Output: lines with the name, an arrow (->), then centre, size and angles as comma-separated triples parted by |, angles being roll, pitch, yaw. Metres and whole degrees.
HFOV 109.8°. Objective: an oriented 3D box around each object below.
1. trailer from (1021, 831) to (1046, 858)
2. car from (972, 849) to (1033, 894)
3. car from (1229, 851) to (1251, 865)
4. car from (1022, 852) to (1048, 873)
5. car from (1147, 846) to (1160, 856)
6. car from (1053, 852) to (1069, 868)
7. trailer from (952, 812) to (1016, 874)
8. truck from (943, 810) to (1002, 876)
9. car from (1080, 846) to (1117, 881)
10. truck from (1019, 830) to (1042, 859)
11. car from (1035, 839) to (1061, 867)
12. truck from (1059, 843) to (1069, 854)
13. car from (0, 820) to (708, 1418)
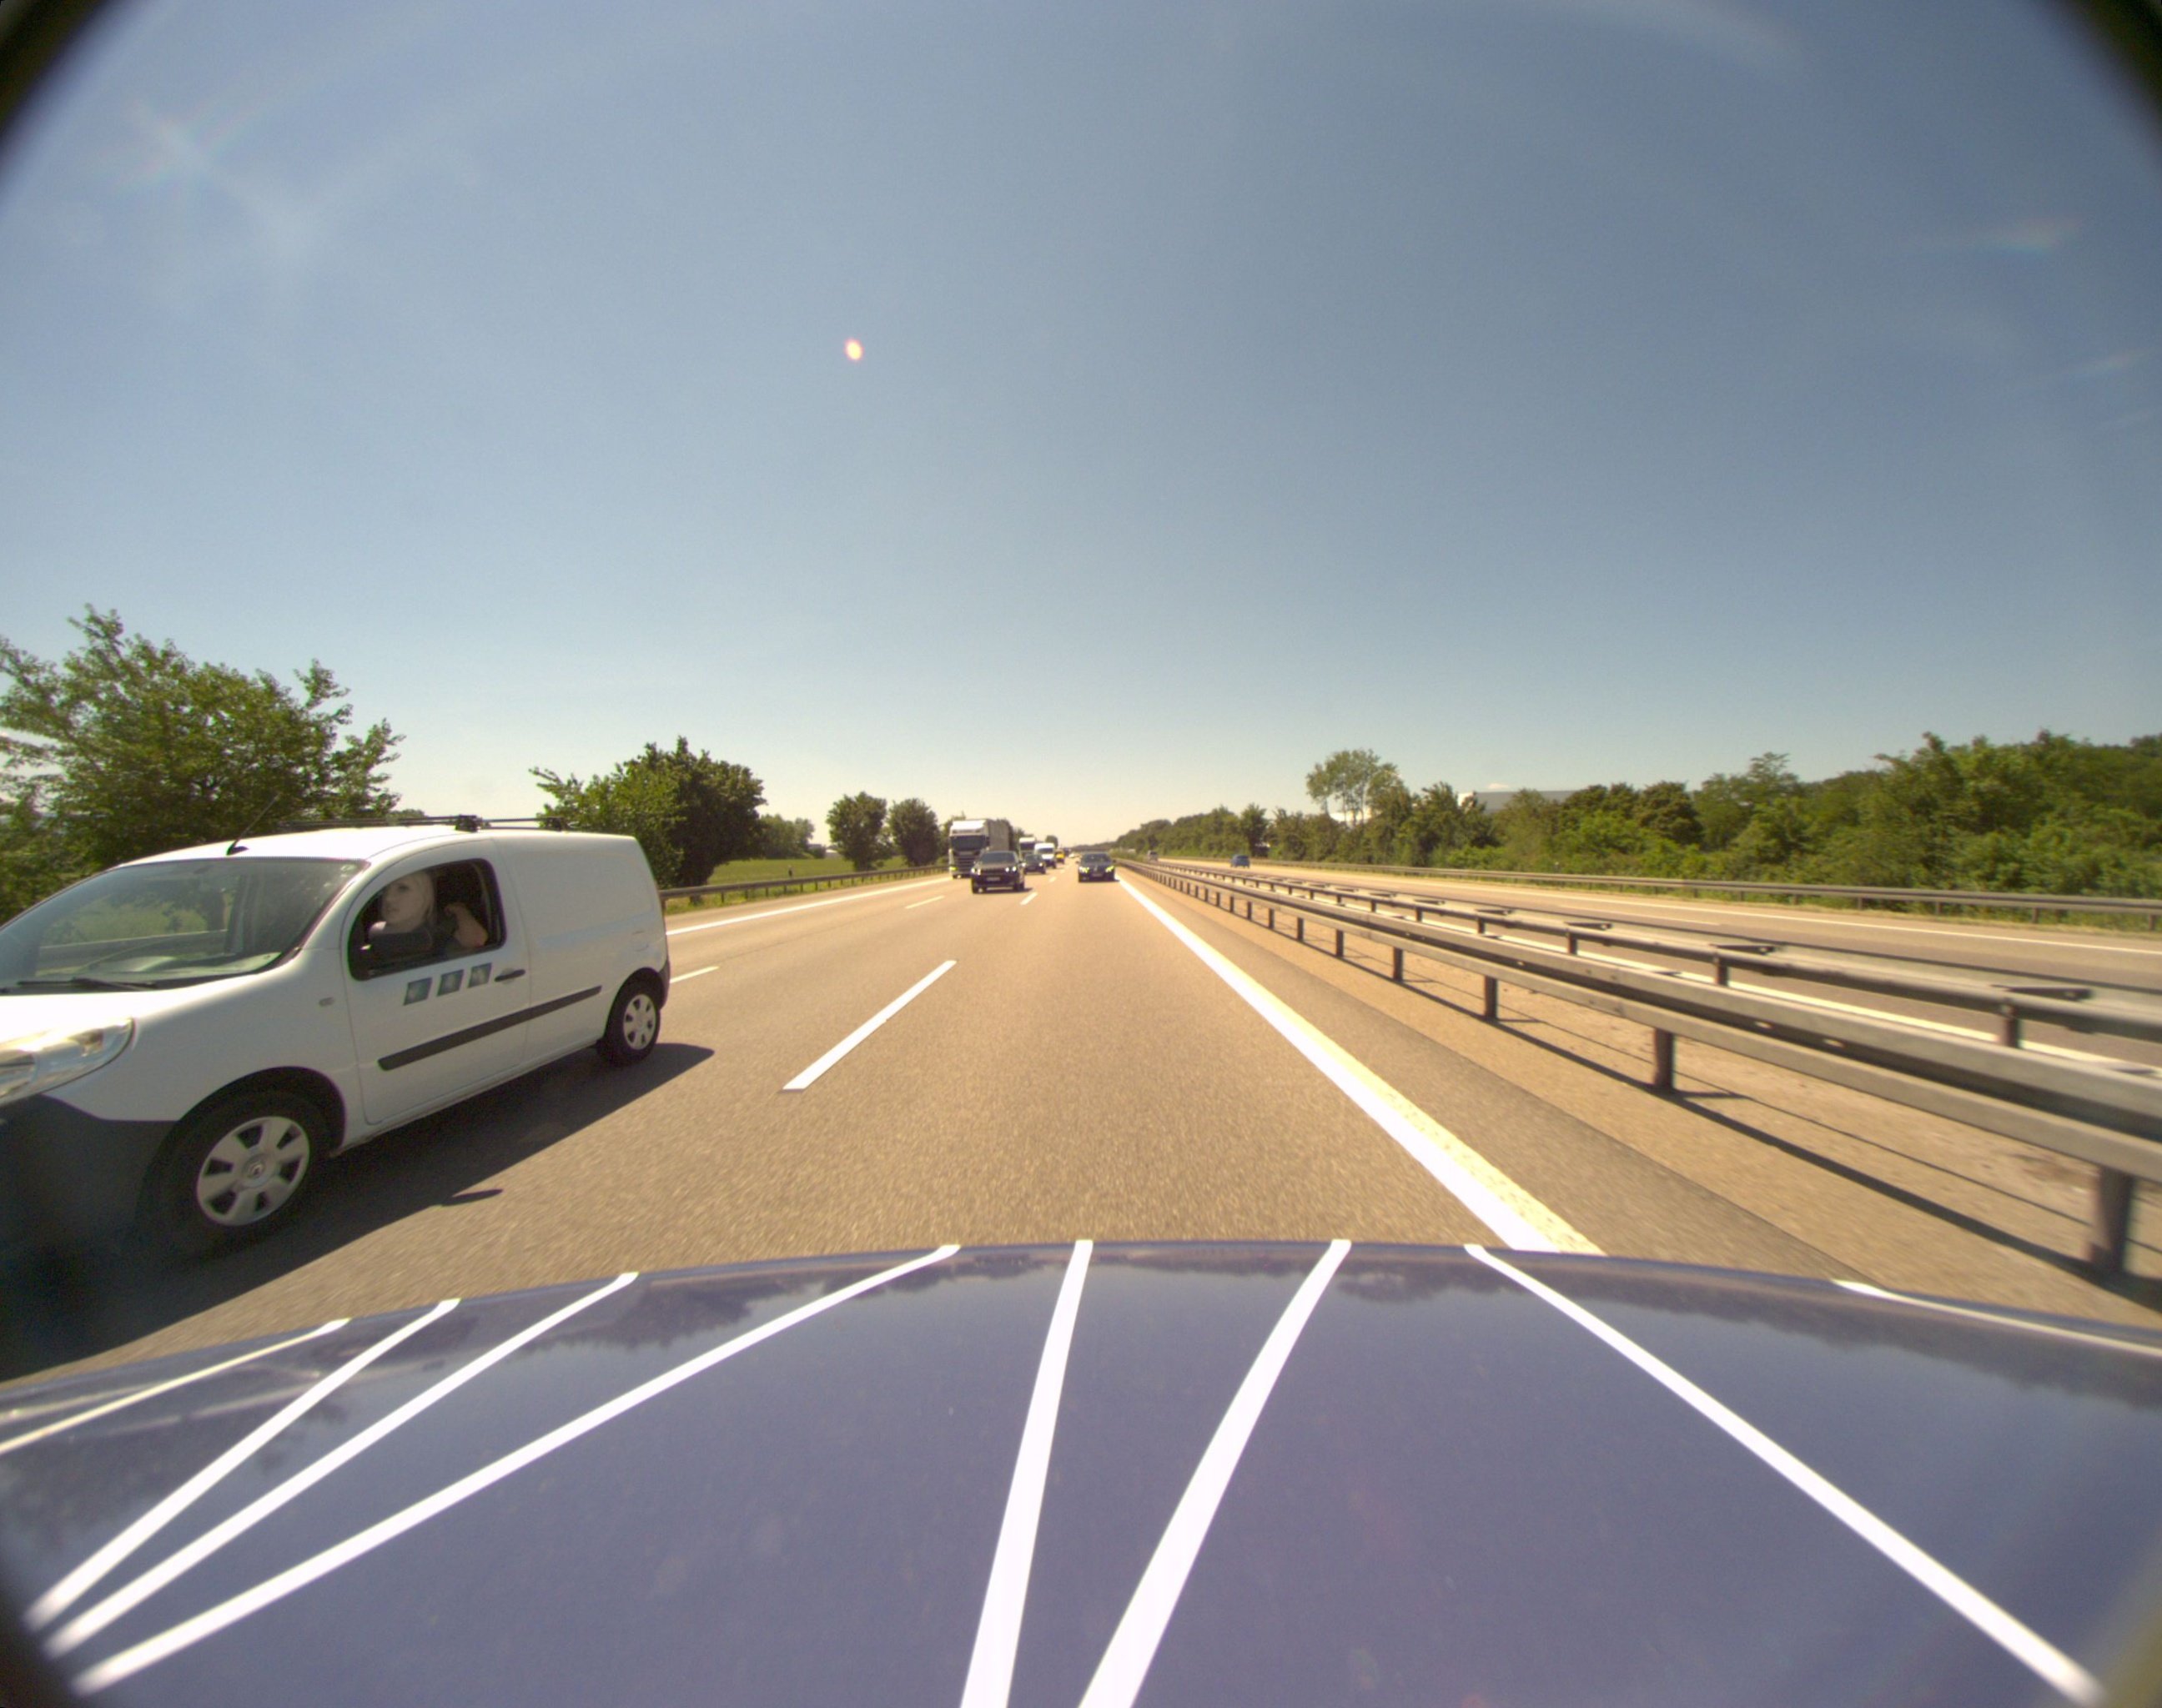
trailer -> -7.318, -1.391, 118.259 | 2.700, 3.943, 13.960 | -2, 0, 1
car -> -3.164, 0.665, 31.654 | 1.871, 1.665, 4.746 | -2, 0, 2
car -> 17.269, 0.452, 82.744 | 1.568, 1.416, 3.470 | 1, 1, -1
car -> -3.294, 0.583, 55.155 | 1.692, 1.465, 3.432 | -2, 0, -1
car -> 14.050, -0.551, 147.741 | 2.046, 1.913, 5.226 | 1, 0, 0
car -> -2.644, 0.770, 100.288 | 1.958, 1.939, 3.999 | -2, 1, 0
trailer -> -7.445, -0.814, 60.667 | 2.817, 4.279, 14.254 | -2, 0, 1
truck -> -7.596, -0.763, 54.272 | 2.817, 4.279, 7.193 | -2, 1, 1
car -> 0.887, 0.452, 38.379 | 1.690, 1.646, 3.462 | -2, 1, 1
truck -> -7.390, -1.376, 112.511 | 2.700, 3.943, 7.703 | -2, 0, 1
car -> -3.157, -0.122, 74.151 | 2.159, 2.494, 5.945 | -2, 0, 0
truck -> -5.728, -1.919, 257.393 | 2.976, 3.626, 7.148 | -2, 1, -2
car -> -4.302, 0.843, 4.412 | 1.858, 1.852, 4.701 | -2, 0, 0
